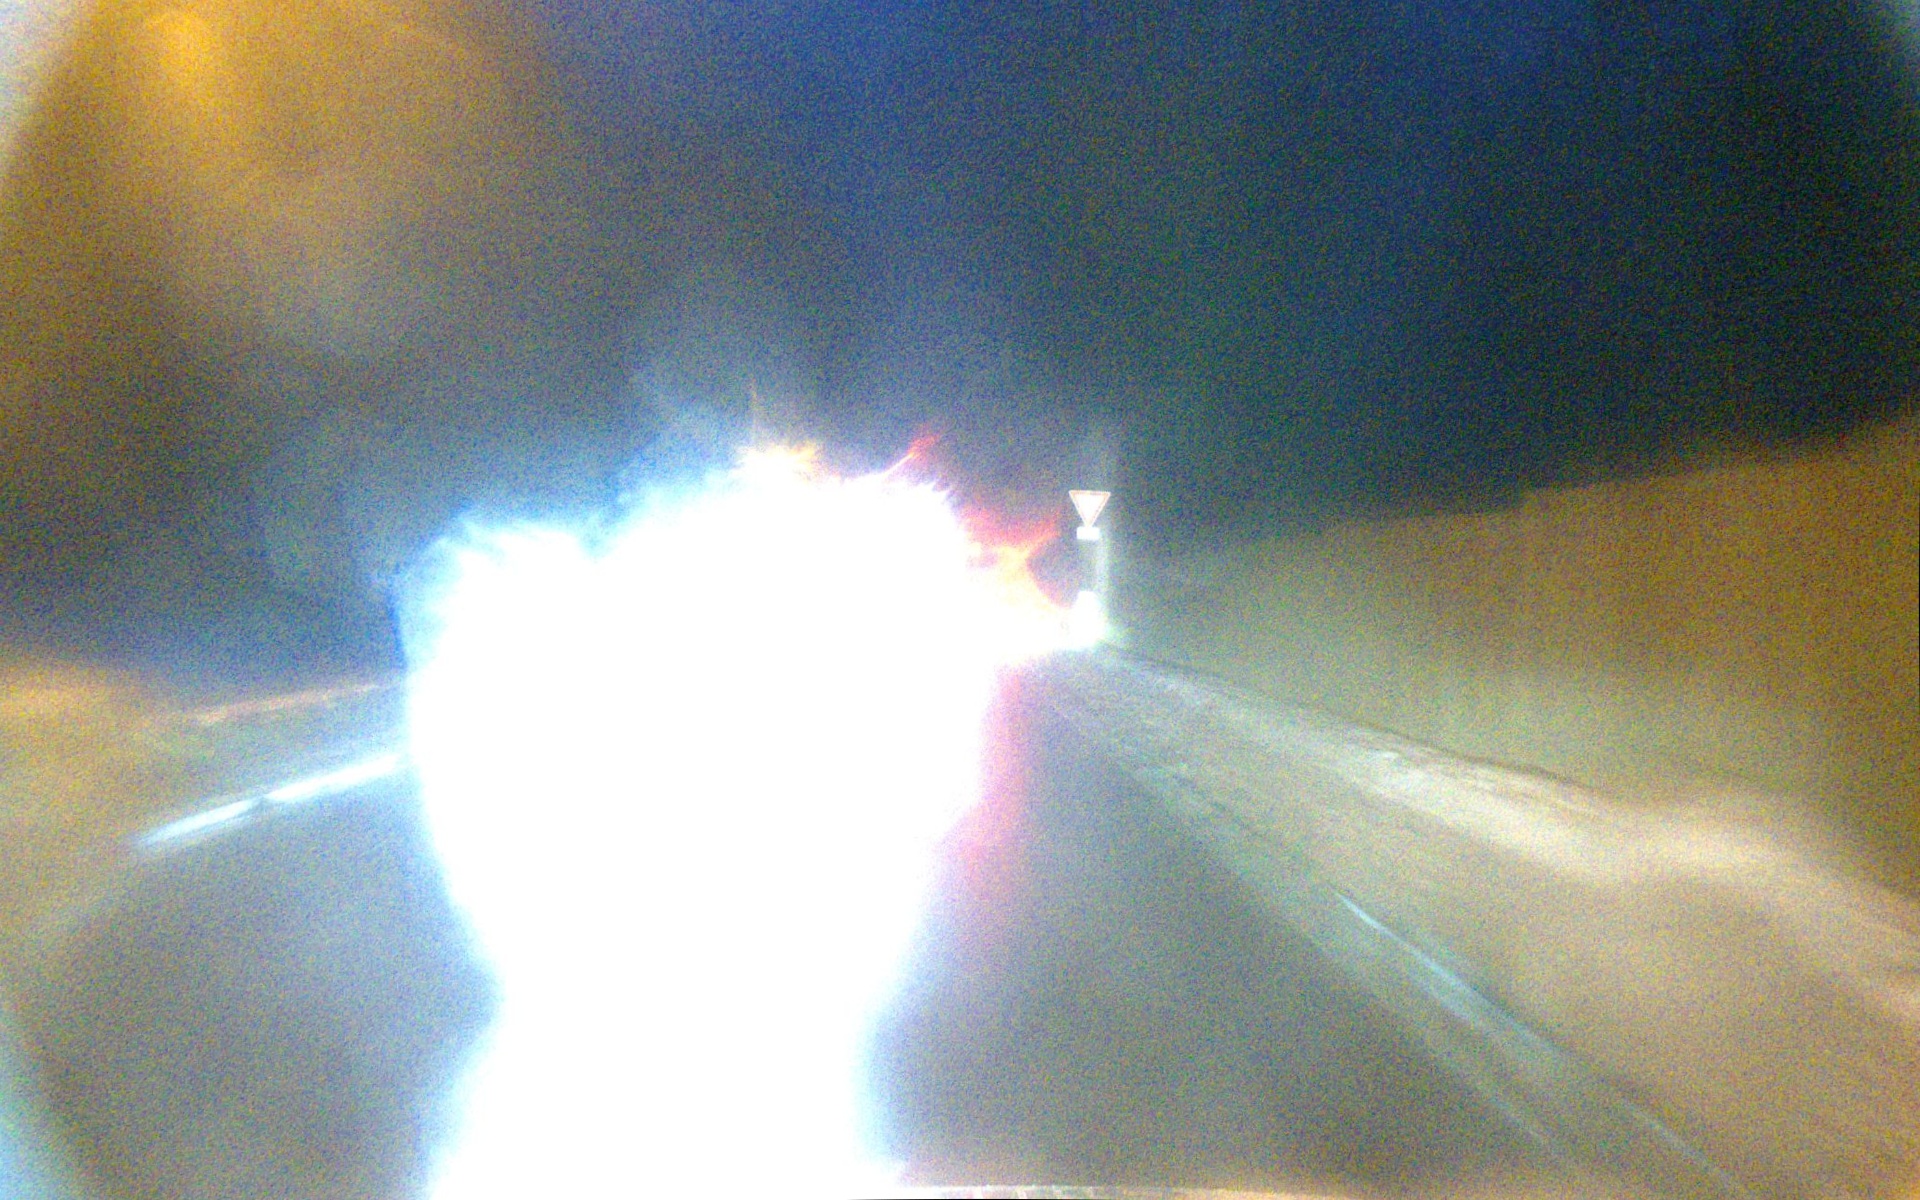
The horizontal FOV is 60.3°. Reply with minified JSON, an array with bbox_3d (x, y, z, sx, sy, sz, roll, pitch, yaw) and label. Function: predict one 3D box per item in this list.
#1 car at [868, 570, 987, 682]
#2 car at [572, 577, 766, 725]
[{"bbox_3d":[-0.533,0.426,27.417,1.765,1.657,3.614,2,-1,-1],"label":"car"},{"bbox_3d":[-3.314,0.548,19.530,1.697,1.545,4.014,1,0,-2],"label":"car"}]
